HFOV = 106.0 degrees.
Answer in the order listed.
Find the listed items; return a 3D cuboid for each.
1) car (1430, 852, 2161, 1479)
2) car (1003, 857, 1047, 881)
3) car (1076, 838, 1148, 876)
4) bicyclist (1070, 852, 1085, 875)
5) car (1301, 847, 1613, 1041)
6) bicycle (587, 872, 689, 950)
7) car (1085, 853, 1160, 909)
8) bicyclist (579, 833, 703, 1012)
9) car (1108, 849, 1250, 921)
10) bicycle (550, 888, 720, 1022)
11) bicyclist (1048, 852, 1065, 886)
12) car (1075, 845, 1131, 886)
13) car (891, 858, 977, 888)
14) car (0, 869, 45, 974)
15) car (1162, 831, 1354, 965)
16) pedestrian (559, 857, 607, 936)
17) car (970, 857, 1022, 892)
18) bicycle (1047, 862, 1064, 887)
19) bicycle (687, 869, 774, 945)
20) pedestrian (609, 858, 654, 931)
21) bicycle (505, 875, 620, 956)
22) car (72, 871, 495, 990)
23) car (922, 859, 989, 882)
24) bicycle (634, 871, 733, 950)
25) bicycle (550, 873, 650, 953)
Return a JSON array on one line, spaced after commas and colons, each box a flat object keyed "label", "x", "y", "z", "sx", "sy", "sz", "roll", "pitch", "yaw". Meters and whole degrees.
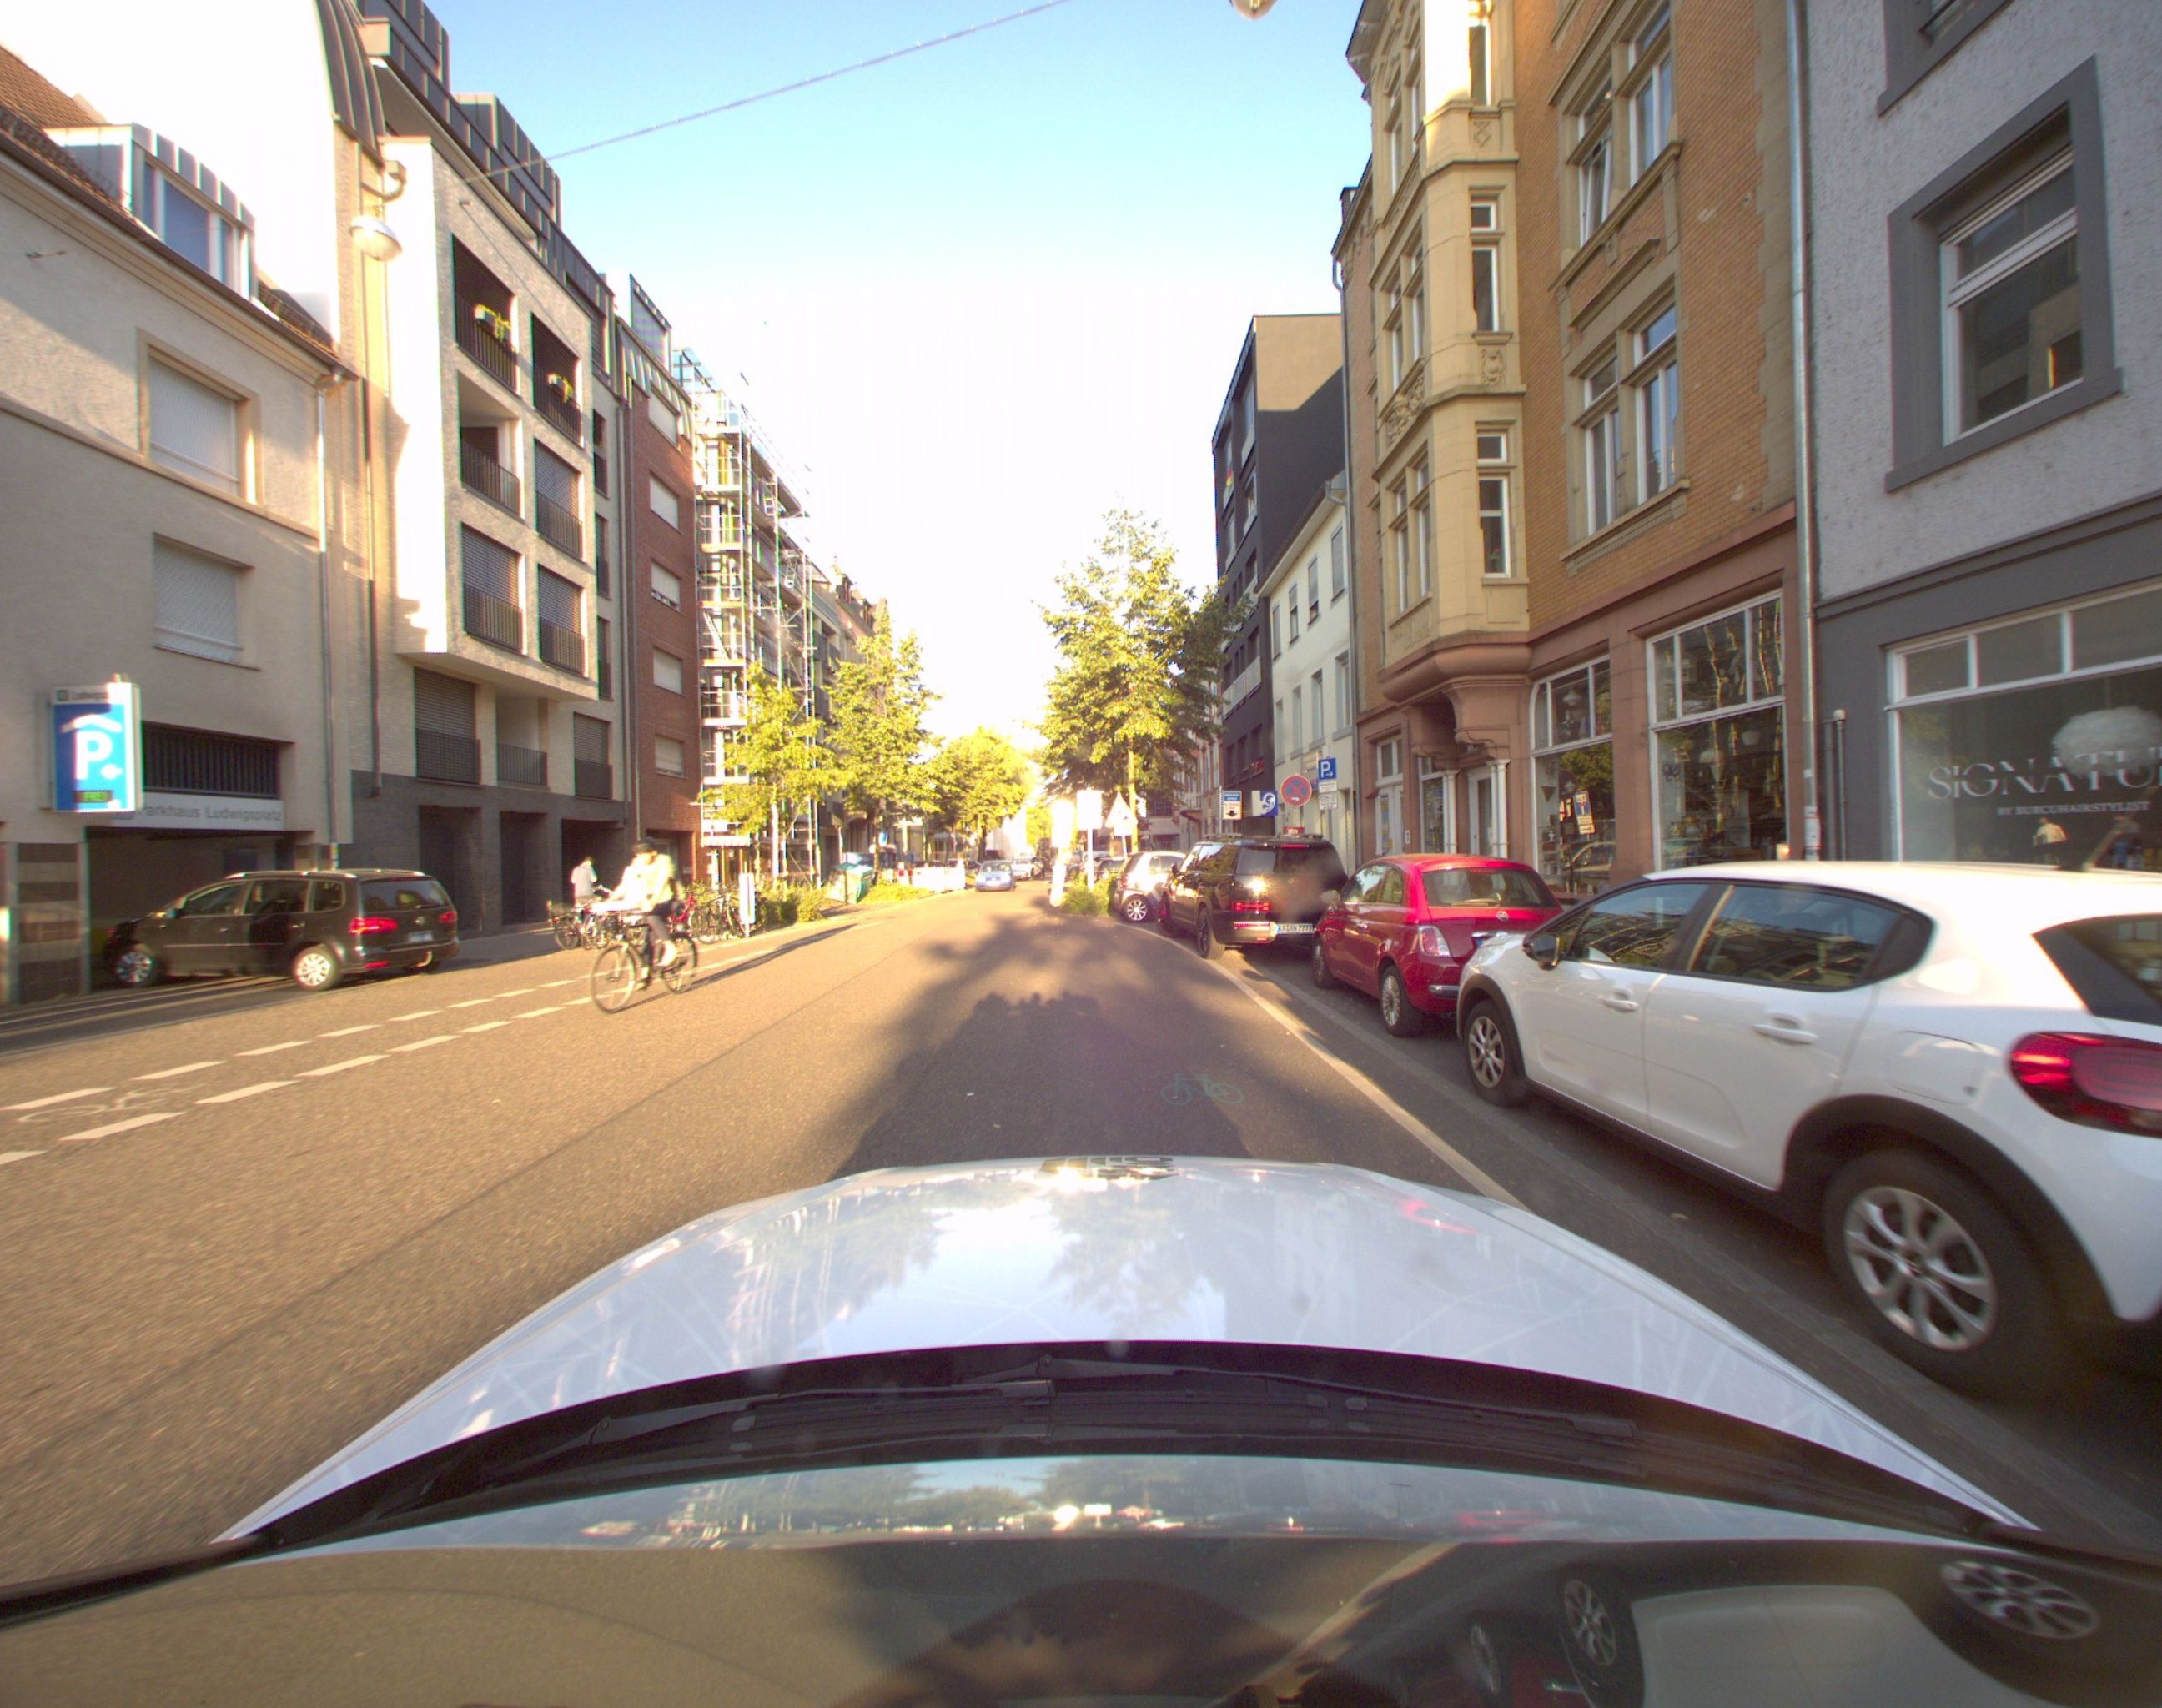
[{"label": "car", "x": 3.213, "y": 0.693, "z": 3.679, "sx": 1.661, "sy": 1.378, "sz": 3.802, "roll": 0, "pitch": 0, "yaw": 0}, {"label": "car", "x": -3.620, "y": 0.939, "z": 53.340, "sx": 1.873, "sy": 1.480, "sz": 4.471, "roll": 0, "pitch": 0, "yaw": 9}, {"label": "car", "x": 1.815, "y": 0.185, "z": 46.527, "sx": 3.970, "sy": 2.013, "sz": 2.002, "roll": -2, "pitch": 0, "yaw": 3}, {"label": "bicyclist", "x": -0.275, "y": 0.750, "z": 63.151, "sx": 1.002, "sy": 1.696, "sz": 0.782, "roll": -2, "pitch": -1, "yaw": -6}, {"label": "car", "x": 3.326, "y": 0.702, "z": 7.891, "sx": 1.581, "sy": 1.483, "sz": 3.267, "roll": 0, "pitch": 0, "yaw": 1}, {"label": "bicycle", "x": -8.876, "y": 1.087, "z": 16.501, "sx": 0.780, "sy": 1.373, "sz": 3.133, "roll": 0, "pitch": 0, "yaw": -9}, {"label": "car", "x": 1.280, "y": 0.840, "z": 27.006, "sx": 1.989, "sy": 1.668, "sz": 4.504, "roll": 0, "pitch": 0, "yaw": -3}, {"label": "bicyclist", "x": -4.821, "y": 0.718, "z": 8.991, "sx": 0.779, "sy": 1.829, "sz": 1.006, "roll": -2, "pitch": -1, "yaw": -3}, {"label": "car", "x": 2.154, "y": 0.663, "z": 18.299, "sx": 2.963, "sy": 1.536, "sz": 1.431, "roll": 0, "pitch": -1, "yaw": -5}, {"label": "bicycle", "x": -4.785, "y": 1.023, "z": 8.936, "sx": 0.779, "sy": 1.204, "sz": 2.019, "roll": -2, "pitch": 0, "yaw": -3}, {"label": "bicyclist", "x": -1.252, "y": 0.746, "z": 41.096, "sx": 0.779, "sy": 1.696, "sz": 1.006, "roll": -2, "pitch": -1, "yaw": -3}, {"label": "car", "x": 1.008, "y": 0.556, "z": 40.322, "sx": 2.260, "sy": 1.766, "sz": 4.503, "roll": 4, "pitch": -1, "yaw": -3}, {"label": "car", "x": -7.560, "y": 0.978, "z": 42.107, "sx": 4.088, "sy": 1.466, "sz": 1.890, "roll": 0, "pitch": -1, "yaw": 1}, {"label": "car", "x": -18.928, "y": 1.053, "z": 12.148, "sx": 4.477, "sy": 1.601, "sz": 2.001, "roll": 0, "pitch": -1, "yaw": 2}, {"label": "car", "x": 2.500, "y": 0.577, "z": 12.649, "sx": 1.821, "sy": 1.695, "sz": 4.363, "roll": 0, "pitch": 0, "yaw": -3}, {"label": "pedestrian", "x": -11.519, "y": 0.966, "z": 18.867, "sx": 0.716, "sy": 1.767, "sz": 0.692, "roll": 0, "pitch": -1, "yaw": -9}, {"label": "car", "x": -3.822, "y": 0.890, "z": 37.484, "sx": 1.832, "sy": 1.441, "sz": 4.332, "roll": -2, "pitch": 0, "yaw": 1}, {"label": "bicycle", "x": -1.280, "y": 1.026, "z": 41.152, "sx": 0.779, "sy": 1.204, "sz": 2.019, "roll": -2, "pitch": 0, "yaw": -3}, {"label": "bicycle", "x": -7.144, "y": 1.019, "z": 16.805, "sx": 0.844, "sy": 1.350, "sz": 3.177, "roll": -2, "pitch": 0, "yaw": -9}, {"label": "pedestrian", "x": -10.864, "y": 0.960, "z": 19.703, "sx": 0.716, "sy": 1.740, "sz": 0.736, "roll": 0, "pitch": -1, "yaw": -9}, {"label": "bicycle", "x": -10.233, "y": 1.149, "z": 16.251, "sx": 0.721, "sy": 1.395, "sz": 3.143, "roll": 0, "pitch": 0, "yaw": -9}, {"label": "car", "x": -11.738, "y": 1.077, "z": 12.223, "sx": 4.475, "sy": 1.601, "sz": 2.002, "roll": 0, "pitch": -1, "yaw": 3}, {"label": "car", "x": -8.313, "y": 1.070, "z": 54.202, "sx": 4.088, "sy": 1.466, "sz": 1.890, "roll": 0, "pitch": -1, "yaw": 1}, {"label": "bicycle", "x": -8.030, "y": 1.067, "z": 16.654, "sx": 0.892, "sy": 1.395, "sz": 3.156, "roll": -1, "pitch": 0, "yaw": -9}, {"label": "bicycle", "x": -9.566, "y": 1.105, "z": 16.370, "sx": 0.584, "sy": 1.395, "sz": 3.151, "roll": 0, "pitch": 0, "yaw": -9}]
